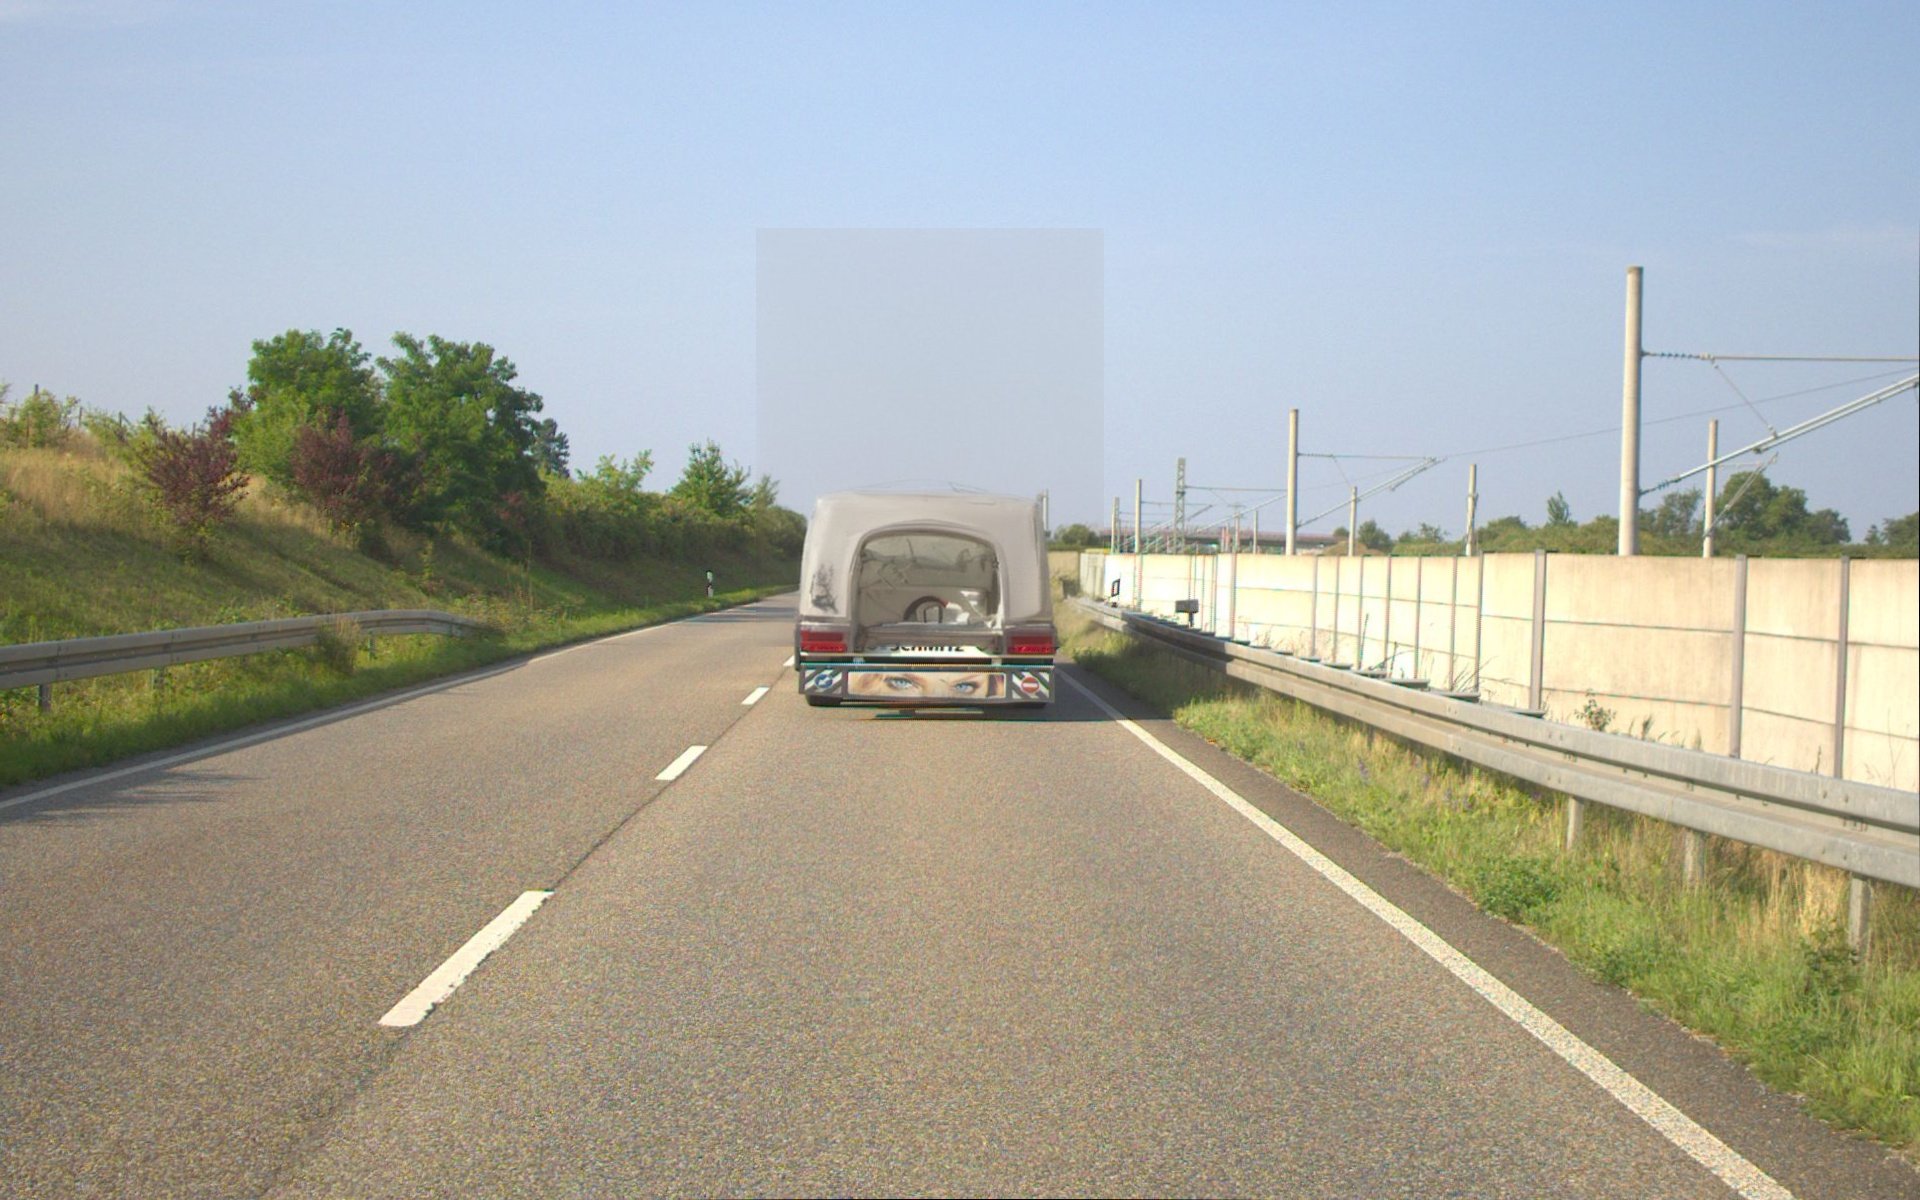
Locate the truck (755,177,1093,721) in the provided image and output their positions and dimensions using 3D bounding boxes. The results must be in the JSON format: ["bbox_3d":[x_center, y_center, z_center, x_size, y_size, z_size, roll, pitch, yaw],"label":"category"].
[{"bbox_3d":[-0.424,-1.482,36.995,3.033,4.903,11.685,0,1,-1],"label":"truck"}]
